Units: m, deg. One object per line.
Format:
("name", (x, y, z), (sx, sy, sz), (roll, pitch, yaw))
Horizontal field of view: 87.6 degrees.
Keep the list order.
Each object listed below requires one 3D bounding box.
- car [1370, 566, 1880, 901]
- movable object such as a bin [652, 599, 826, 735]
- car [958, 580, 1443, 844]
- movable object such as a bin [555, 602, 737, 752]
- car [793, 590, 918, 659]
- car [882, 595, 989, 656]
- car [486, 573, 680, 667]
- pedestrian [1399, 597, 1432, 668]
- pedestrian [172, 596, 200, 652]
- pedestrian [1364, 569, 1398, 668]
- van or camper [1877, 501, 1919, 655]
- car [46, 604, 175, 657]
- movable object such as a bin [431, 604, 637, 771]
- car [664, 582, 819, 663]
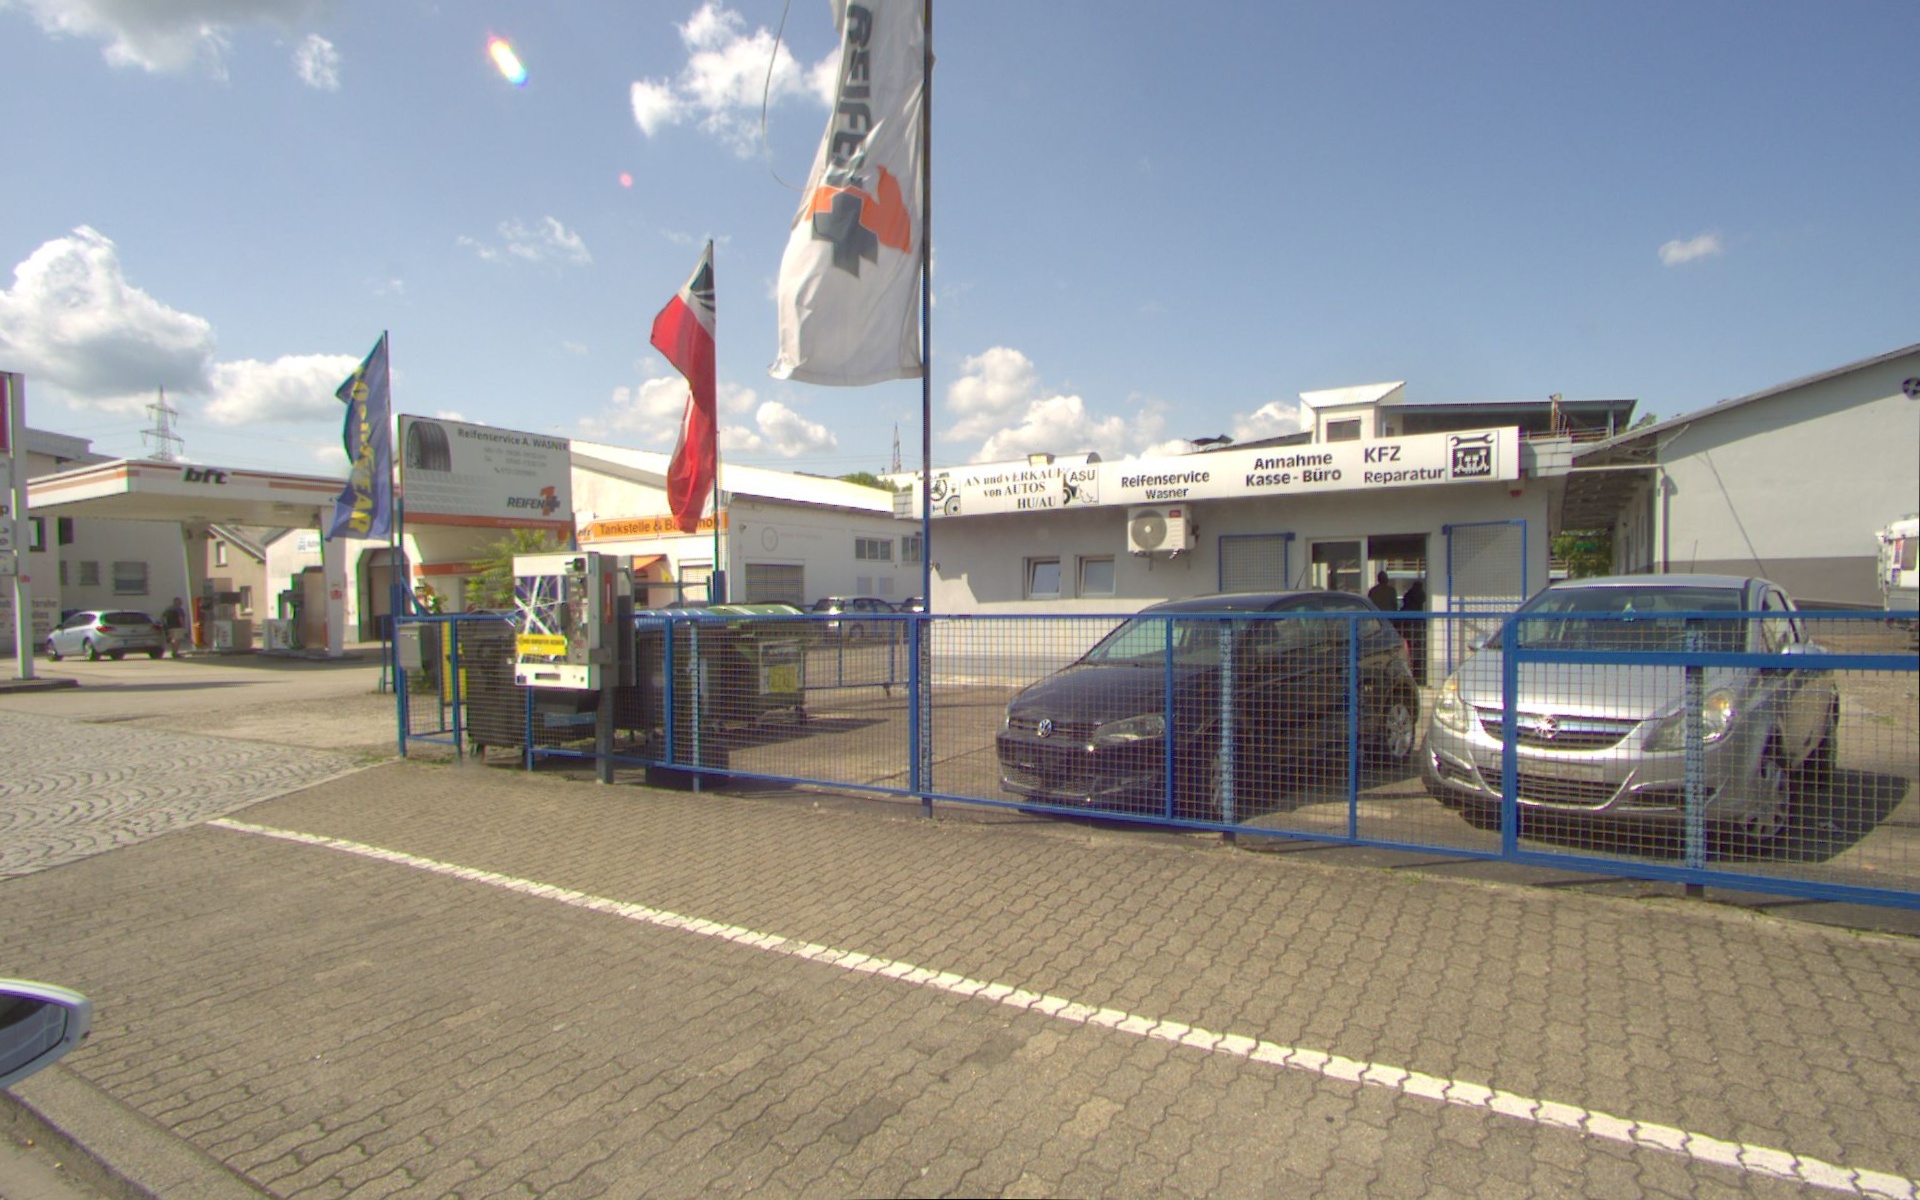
("car", (4.502, 0.585, 6.516), (4.104, 1.499, 1.787), (-1, 0, -42))
("movable object such as a bin", (-2.606, 0.741, 11.904), (1.433, 1.473, 1.427), (0, 1, 31))
("car", (2.014, 0.624, 7.653), (3.962, 1.499, 1.705), (-1, 1, -43))
("movable object such as a bin", (-3.372, 0.773, 10.789), (1.434, 1.473, 1.224), (0, 1, 31))
("car", (-3.266, 0.727, 31.992), (1.971, 2.040, 3.979), (0, 0, 32))
("car", (-0.806, 0.862, 35.882), (1.971, 2.040, 3.979), (0, 0, 32))
("car", (-8.915, 0.434, 23.986), (1.971, 2.040, 3.979), (0, 0, 32))
("pedestrian", (7.978, 0.560, 17.530), (0.480, 1.229, 0.499), (0, 1, 30))
("pedestrian", (-23.741, 0.728, 30.718), (0.628, 1.705, 0.618), (-1, 1, -36))
("pedestrian", (7.383, 0.322, 17.559), (0.480, 1.710, 0.499), (0, 1, 30))
("van or camper", (21.346, -0.461, 19.327), (4.983, 3.002, 2.276), (0, 1, 31))
("car", (-25.835, 0.889, 30.437), (3.950, 1.499, 1.829), (-1, 1, 31))
("movable object such as a bin", (-4.132, 0.782, 9.749), (1.434, 1.473, 1.224), (0, 1, 31))
("car", (-5.949, 0.570, 27.640), (1.971, 2.040, 3.979), (0, 0, 32))
